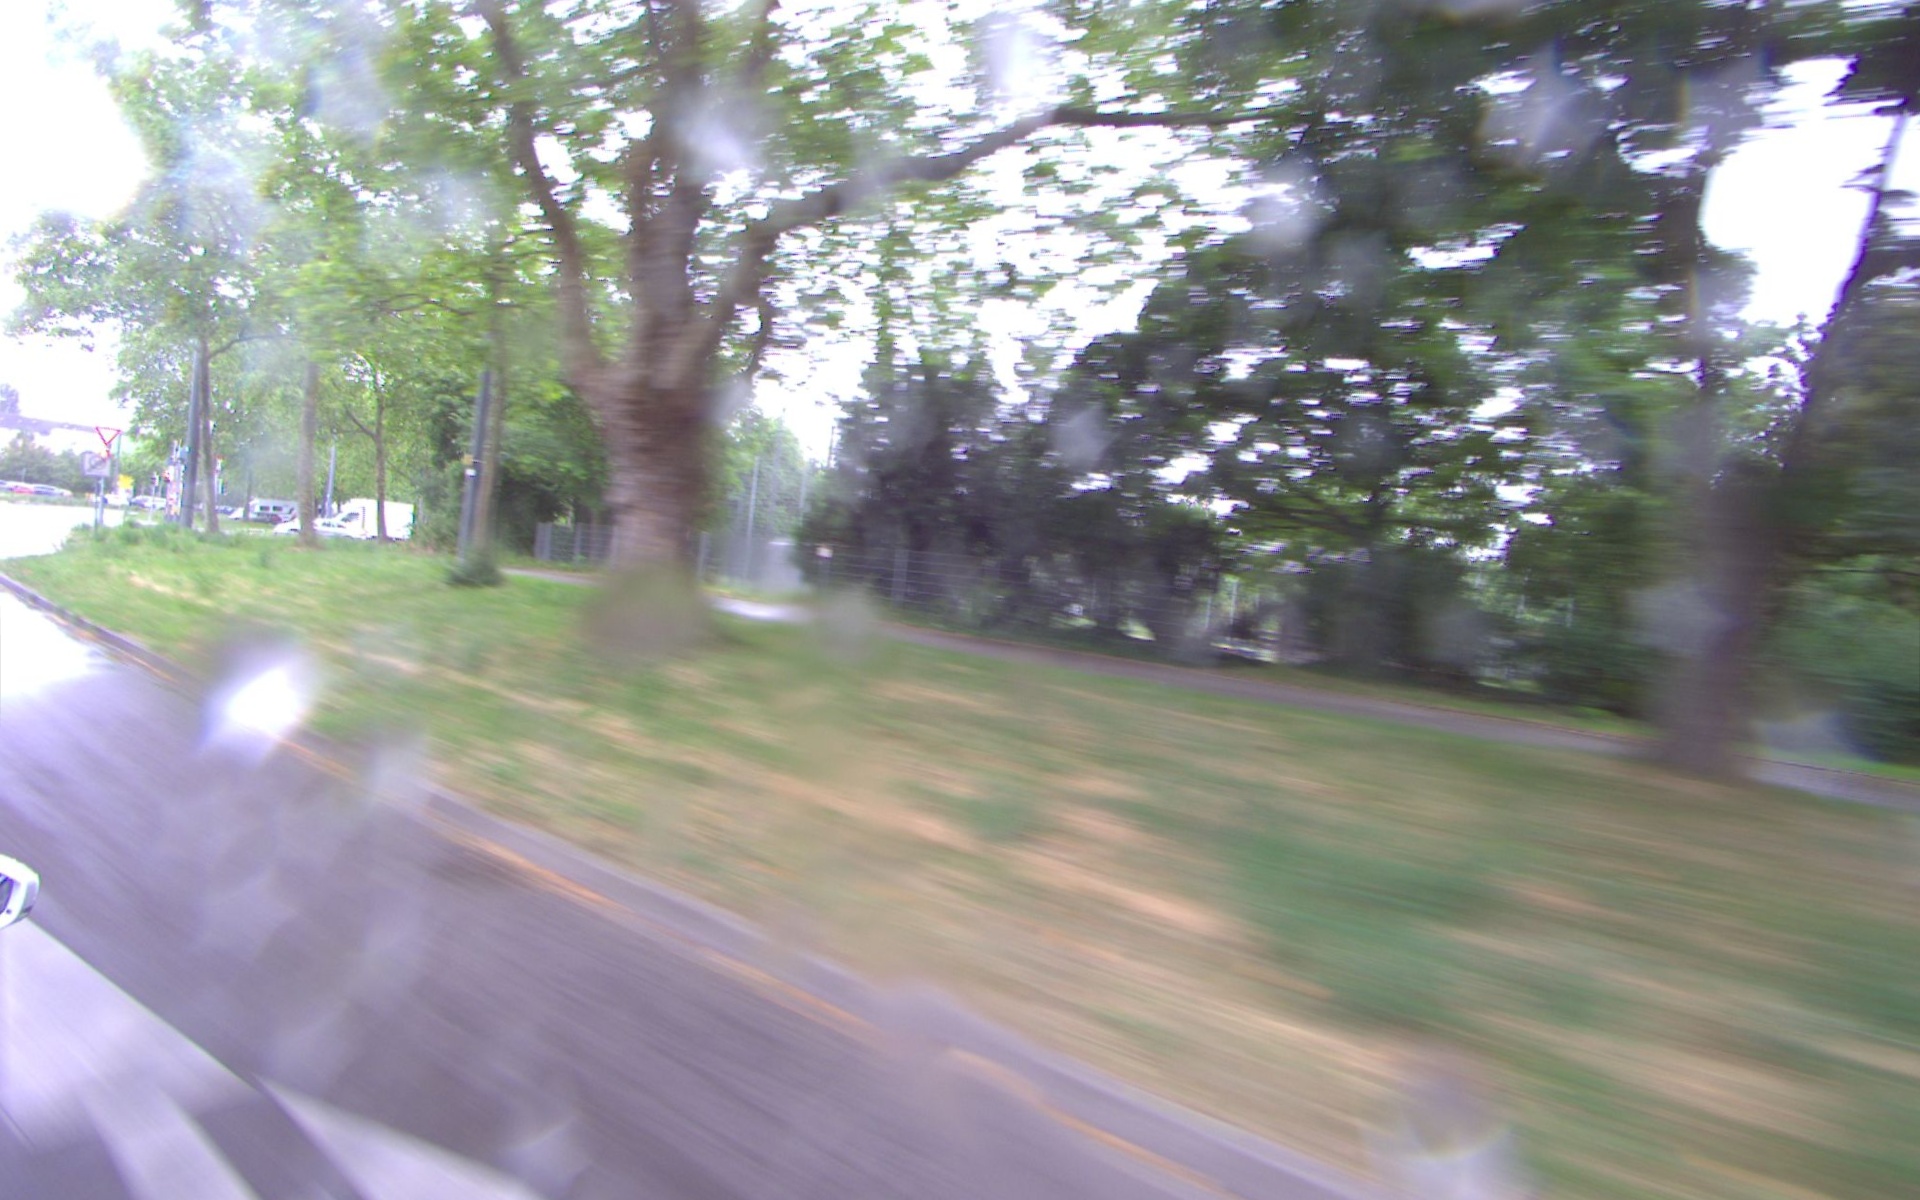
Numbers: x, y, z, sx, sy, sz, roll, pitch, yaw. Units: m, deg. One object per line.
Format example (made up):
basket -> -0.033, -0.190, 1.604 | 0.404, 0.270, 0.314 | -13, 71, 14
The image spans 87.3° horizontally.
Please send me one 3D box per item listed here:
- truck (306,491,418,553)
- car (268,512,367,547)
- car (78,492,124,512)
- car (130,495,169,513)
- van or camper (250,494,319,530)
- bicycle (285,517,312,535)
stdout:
truck -> -37.143, -4.798, 62.607 | 1.954, 3.097, 5.456 | 7, 1, 43
car -> -37.165, -4.050, 58.263 | 1.622, 1.407, 4.502 | 7, 0, 43
car -> -107.814, -12.286, 126.289 | 1.650, 1.883, 4.126 | 7, 1, 42
car -> -115.424, -13.624, 143.323 | 4.111, 2.001, 1.656 | 6, 1, -37
van or camper -> -67.487, -8.773, 100.652 | 5.174, 2.730, 2.229 | 8, 0, -25
bicycle -> -49.384, -5.500, 75.072 | 0.492, 1.116, 1.562 | 7, 1, 33
